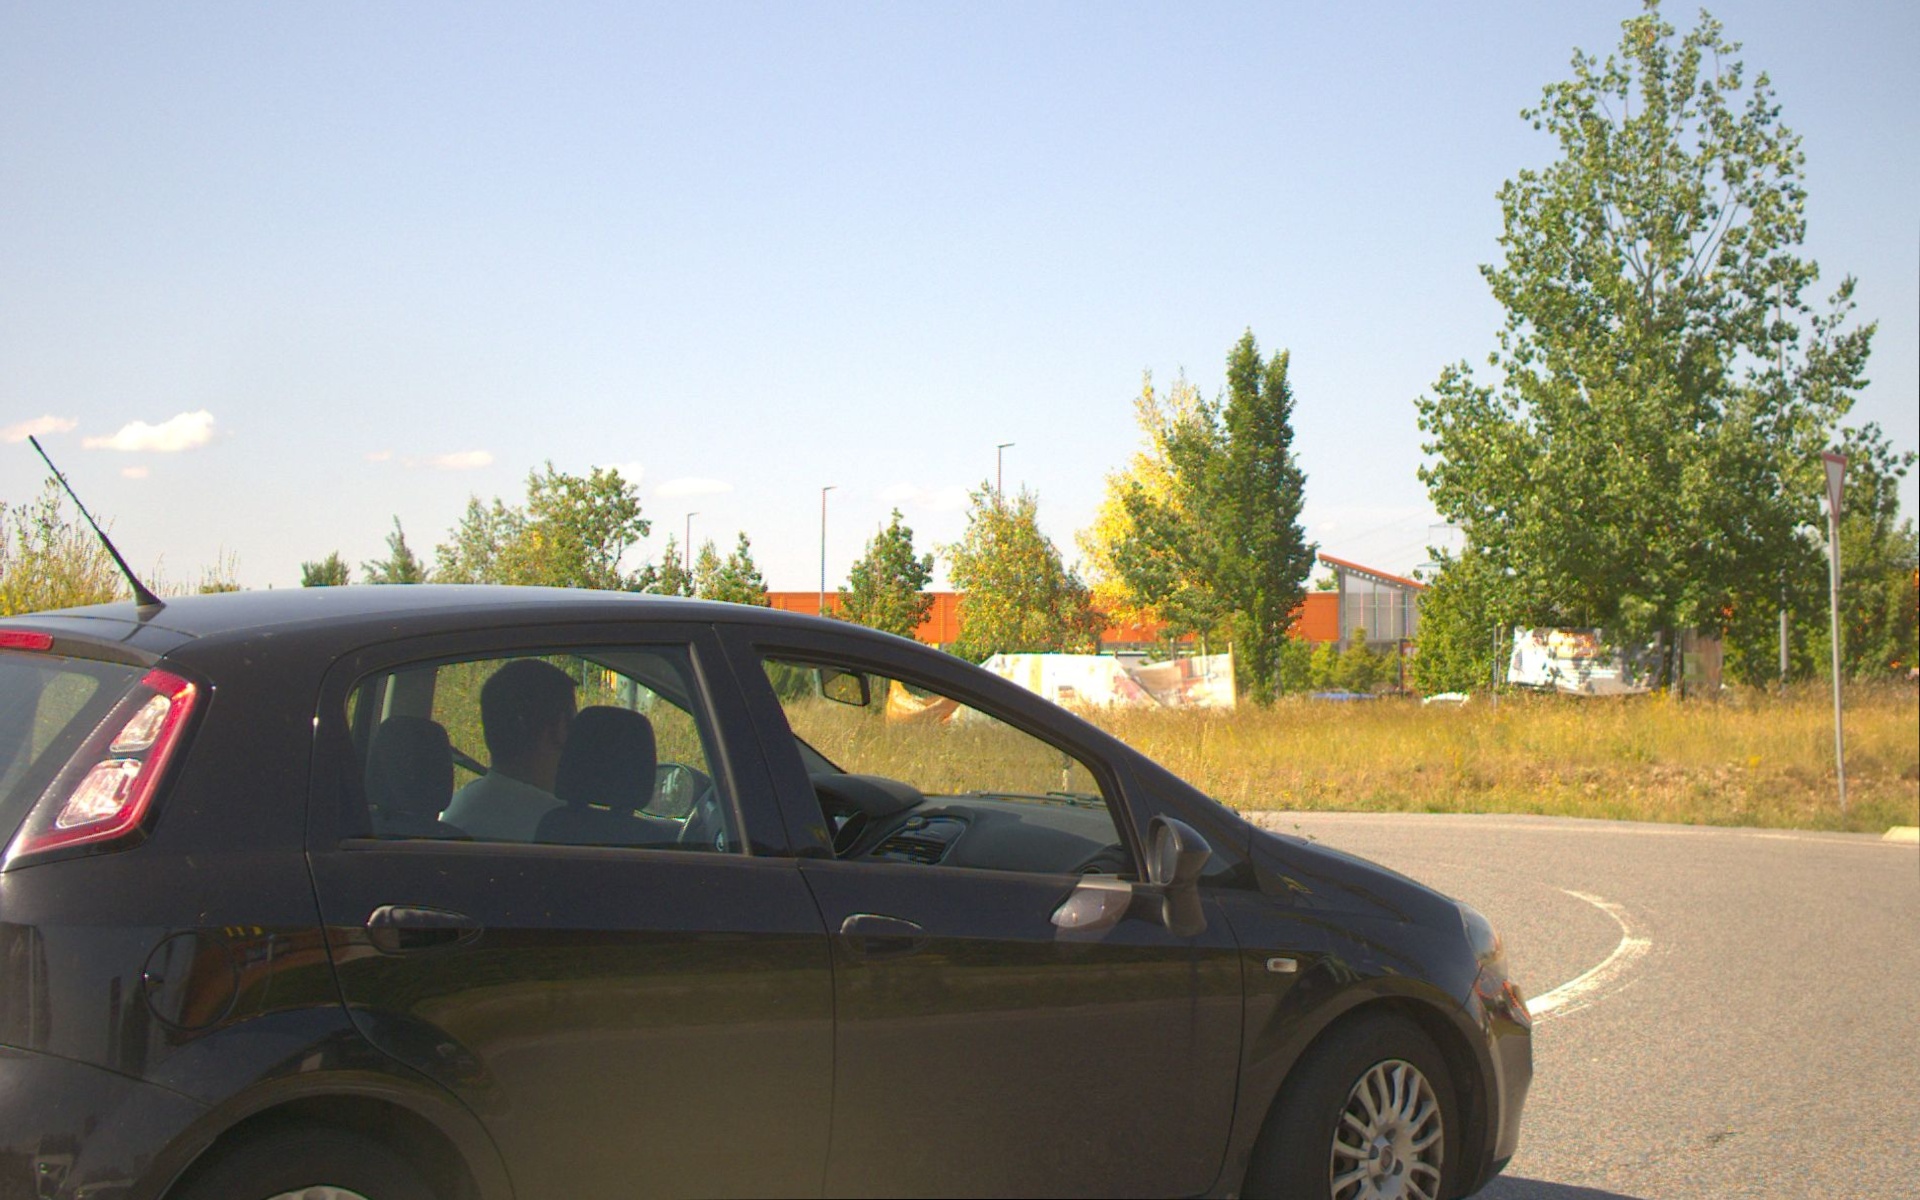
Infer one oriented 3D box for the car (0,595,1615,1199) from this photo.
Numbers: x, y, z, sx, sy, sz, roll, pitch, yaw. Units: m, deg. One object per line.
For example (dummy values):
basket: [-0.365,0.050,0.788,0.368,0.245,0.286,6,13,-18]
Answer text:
car: [-0.601,0.733,6.870,3.893,1.482,1.644,0,0,-39]
